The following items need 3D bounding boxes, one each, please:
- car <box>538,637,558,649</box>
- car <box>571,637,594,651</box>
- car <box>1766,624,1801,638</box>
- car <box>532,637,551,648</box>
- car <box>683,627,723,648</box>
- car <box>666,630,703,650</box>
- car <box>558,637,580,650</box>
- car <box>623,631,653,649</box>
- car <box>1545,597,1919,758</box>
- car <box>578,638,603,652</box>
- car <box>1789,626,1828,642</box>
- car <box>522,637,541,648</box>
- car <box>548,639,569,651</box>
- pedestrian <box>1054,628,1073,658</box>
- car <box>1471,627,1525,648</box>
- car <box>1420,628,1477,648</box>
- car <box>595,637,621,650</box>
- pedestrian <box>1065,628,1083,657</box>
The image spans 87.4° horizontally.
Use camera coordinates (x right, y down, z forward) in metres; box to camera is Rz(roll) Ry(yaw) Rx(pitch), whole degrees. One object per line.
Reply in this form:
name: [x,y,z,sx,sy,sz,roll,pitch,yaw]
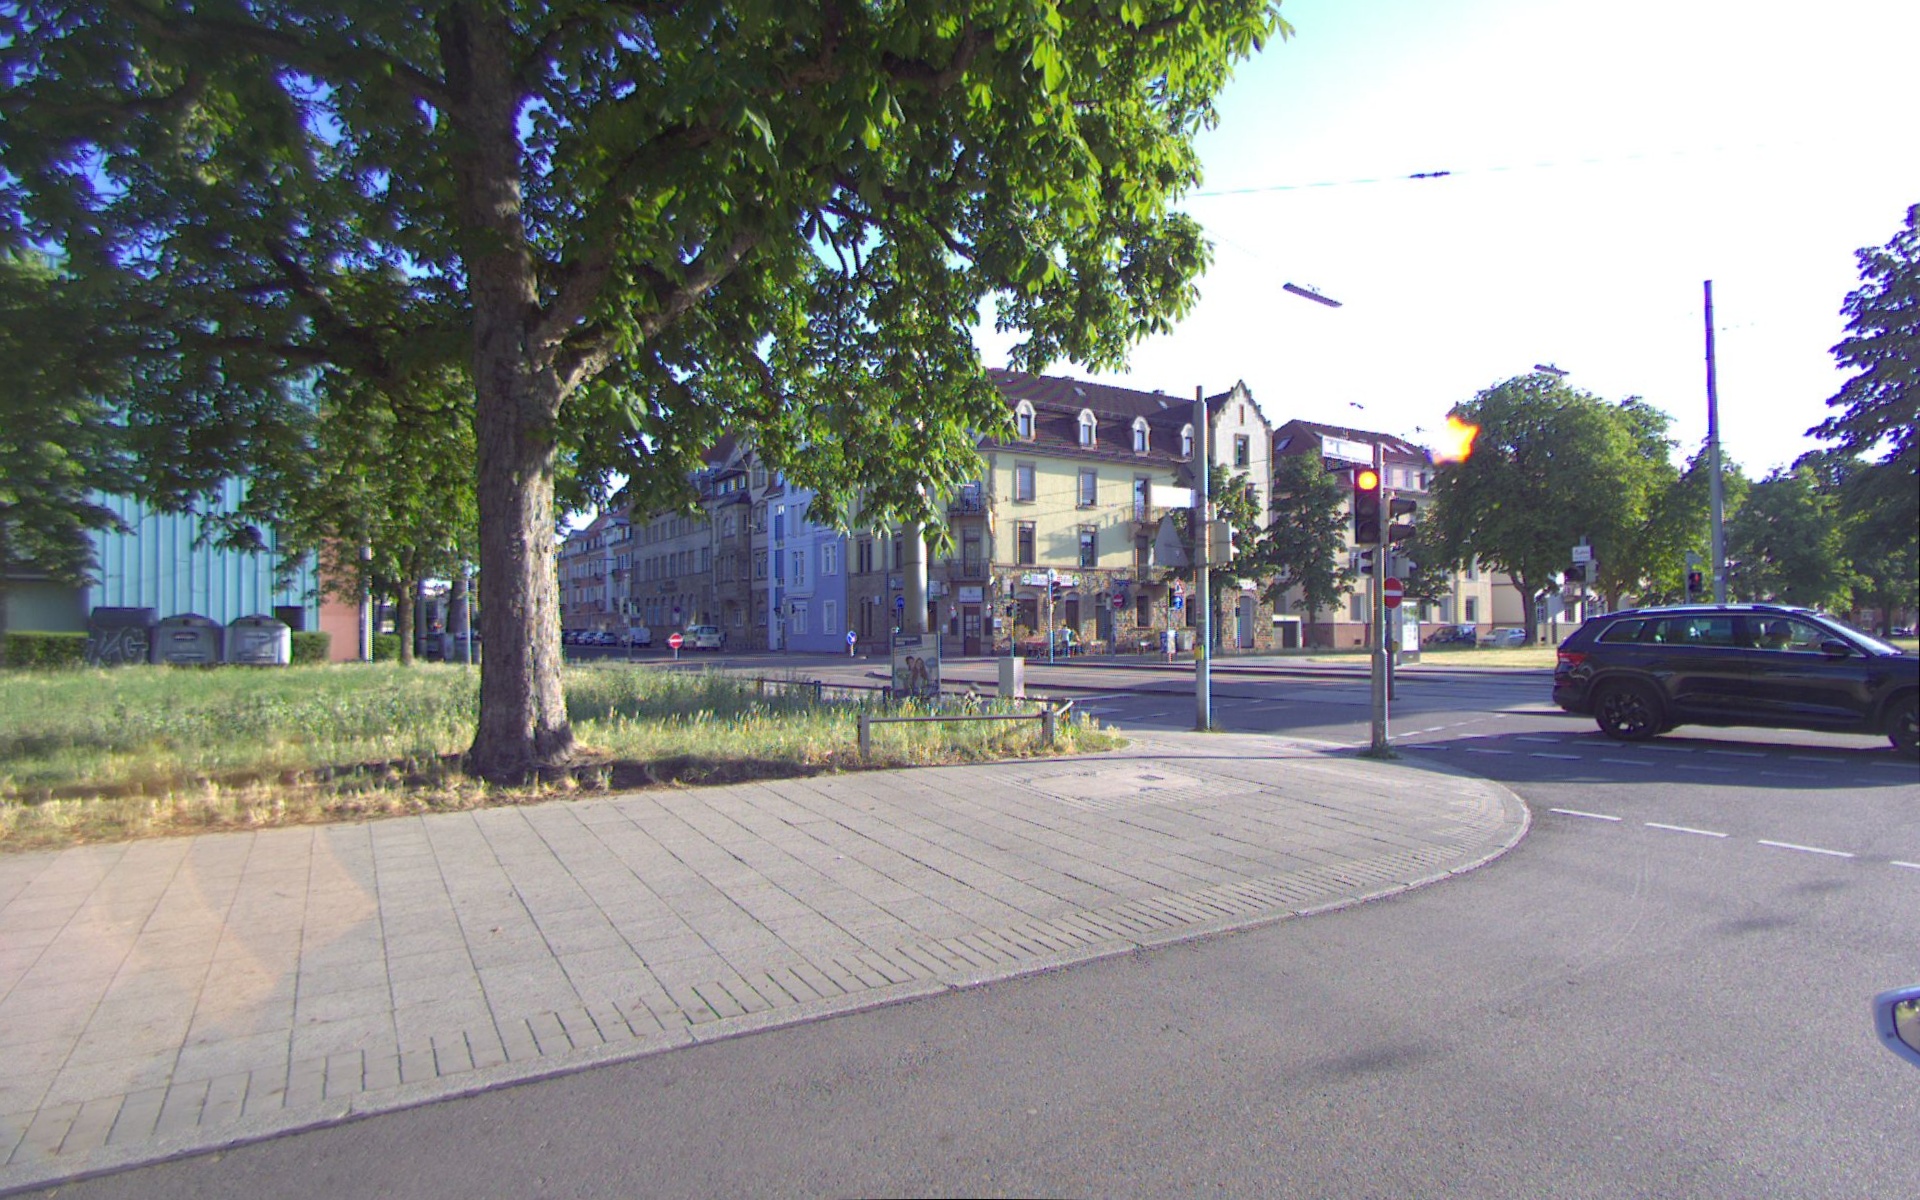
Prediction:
car: [-52.093,5.461,127.054,1.867,1.433,4.013,1,-2,-29]
car: [-42.626,4.945,113.520,1.867,1.433,4.013,1,-2,-29]
car: [86.185,3.242,105.103,3.749,1.446,1.729,1,-1,-31]
car: [-54.638,5.539,131.103,1.867,1.433,4.013,1,-2,-29]
car: [-20.117,2.909,78.394,2.074,1.612,4.014,2,-2,-29]
car: [-22.798,3.304,83.112,2.074,1.612,4.014,2,-2,-29]
car: [-45.869,5.091,117.768,1.867,1.433,4.013,1,-2,-29]
car: [-30.150,3.726,94.071,1.888,1.610,4.013,2,-2,-29]
car: [9.893,0.878,12.147,1.864,1.685,4.511,1,-3,-40]
car: [-39.889,4.844,108.395,1.867,1.433,4.013,1,-2,-29]
car: [80.222,3.215,94.949,3.749,1.446,1.729,1,-1,-31]
car: [-57.566,5.667,134.904,1.867,1.433,4.013,1,-2,-29]
car: [-48.934,5.491,122.376,1.867,1.433,4.013,1,-2,-29]
pedestrian: [5.795,2.383,56.189,0.807,1.664,0.719,1,-2,-35]
car: [40.820,2.800,76.234,3.741,1.446,1.733,-1,0,-26]
car: [35.442,2.748,72.868,3.741,1.416,1.733,1,-2,-26]
car: [-36.433,4.458,103.875,1.867,1.299,4.013,1,-2,-29]
pedestrian: [6.510,2.409,57.164,0.715,1.664,0.811,0,-1,-23]
